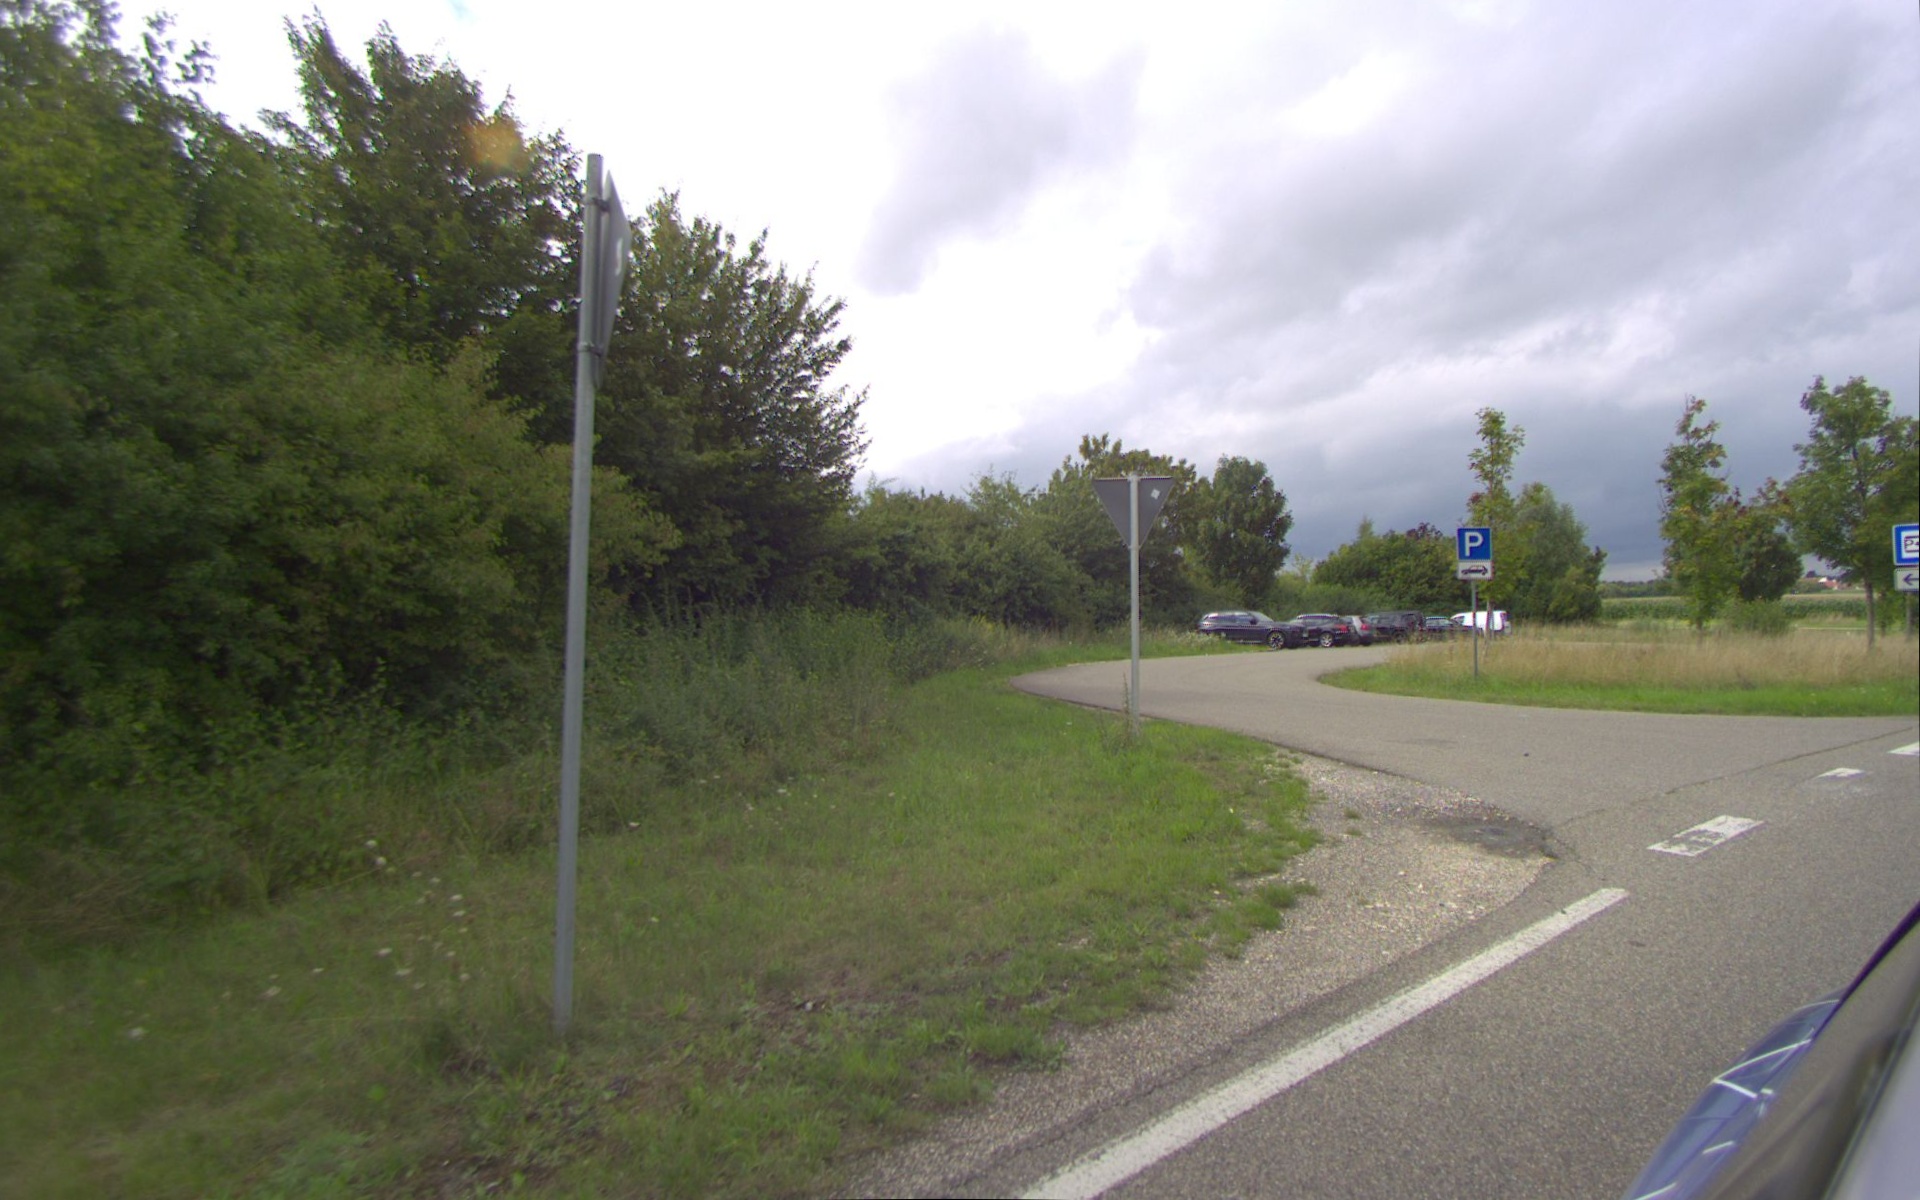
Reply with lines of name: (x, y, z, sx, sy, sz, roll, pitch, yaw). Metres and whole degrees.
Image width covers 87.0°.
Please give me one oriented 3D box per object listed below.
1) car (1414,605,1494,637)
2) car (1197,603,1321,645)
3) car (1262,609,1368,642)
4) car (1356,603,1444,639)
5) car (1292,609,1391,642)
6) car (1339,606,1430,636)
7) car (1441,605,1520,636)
car: (29.804, 1.276, 61.136, 3.984, 1.883, 1.718, -1, -1, 43)
car: (12.196, 0.962, 41.419, 4.469, 1.601, 1.972, -1, -1, 39)
car: (16.052, 1.148, 45.854, 4.144, 1.432, 1.972, -1, -1, 39)
car: (23.921, 1.137, 55.067, 3.984, 1.883, 1.969, -1, -1, 43)
car: (18.254, 1.210, 48.537, 2.018, 1.524, 3.998, 0, -1, -45)
car: (22.109, 1.085, 52.787, 3.979, 1.516, 1.972, -1, -1, 39)
car: (32.366, 1.271, 62.939, 3.984, 1.883, 1.969, -1, -1, 43)
